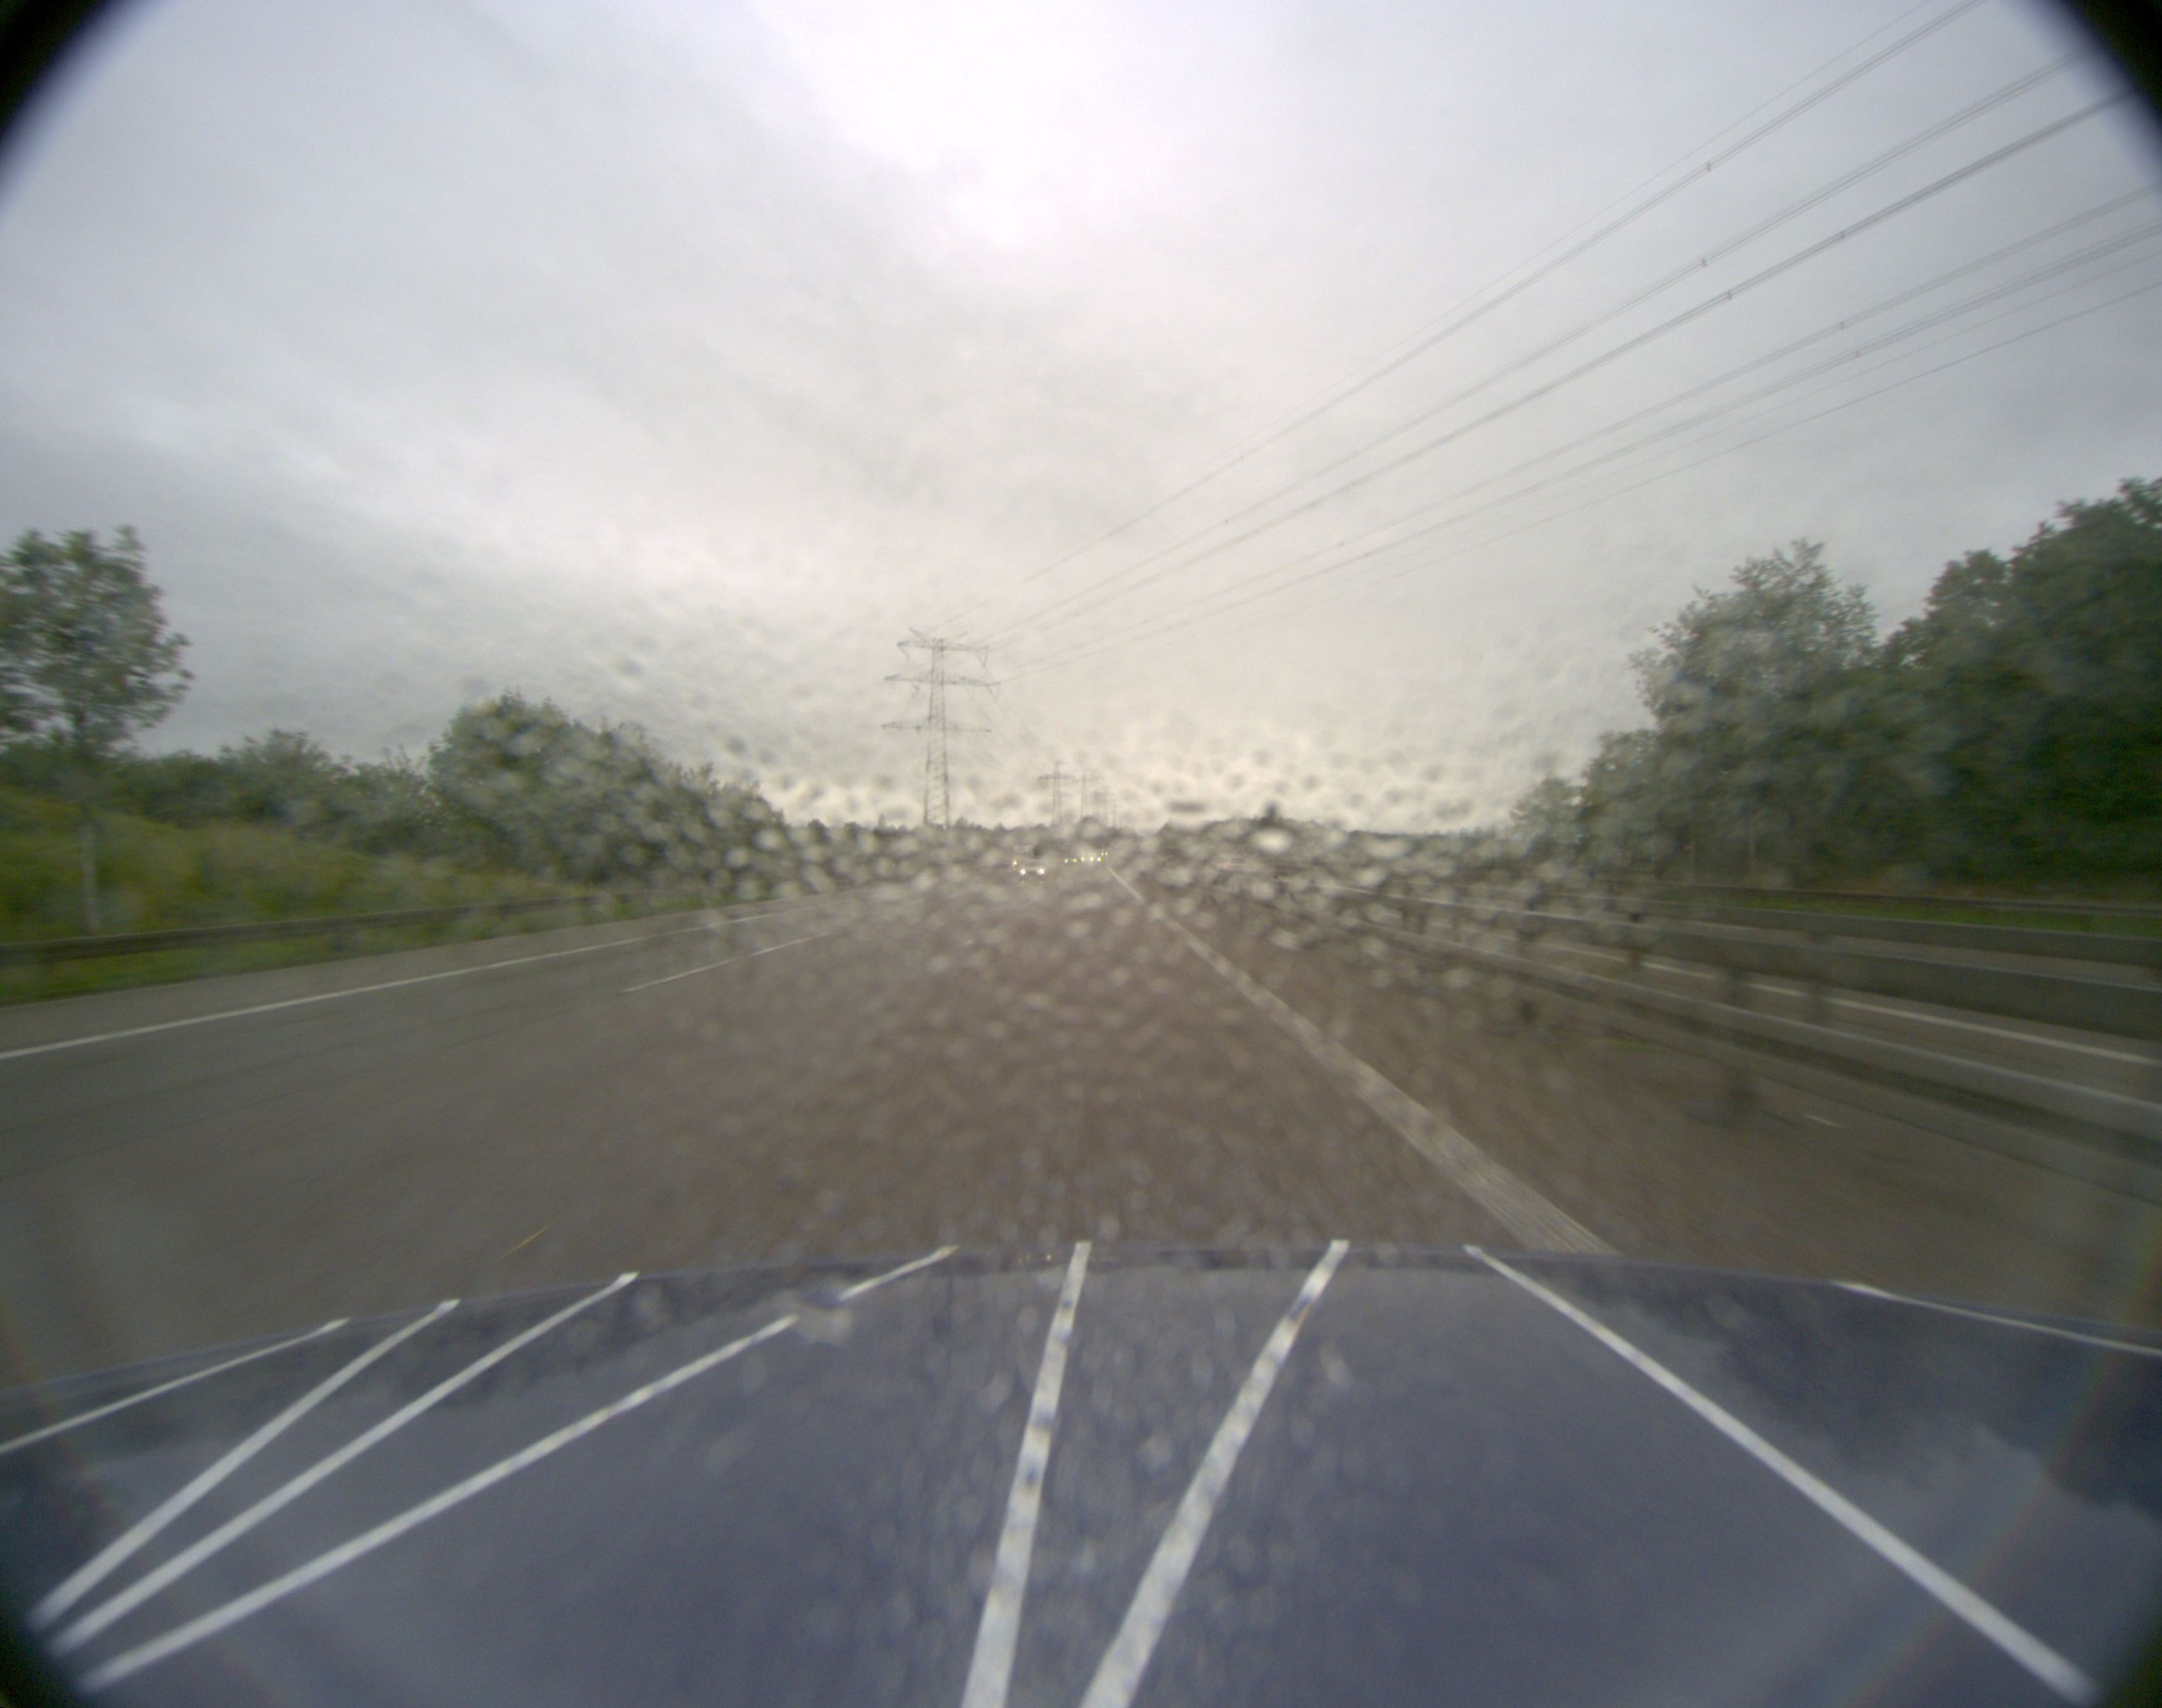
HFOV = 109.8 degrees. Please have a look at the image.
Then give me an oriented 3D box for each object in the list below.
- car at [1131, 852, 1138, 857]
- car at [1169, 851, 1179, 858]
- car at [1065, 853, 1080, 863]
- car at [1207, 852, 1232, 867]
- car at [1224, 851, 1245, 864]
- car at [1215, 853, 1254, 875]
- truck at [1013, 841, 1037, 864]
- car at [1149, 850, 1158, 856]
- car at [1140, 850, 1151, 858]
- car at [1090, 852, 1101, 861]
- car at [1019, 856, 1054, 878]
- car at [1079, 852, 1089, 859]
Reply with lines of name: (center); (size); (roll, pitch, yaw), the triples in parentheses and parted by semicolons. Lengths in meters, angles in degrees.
car: (15.205, 0.195, 216.241); (1.660, 1.428, 4.089); (1, 0, 1)
car: (21.081, 0.042, 171.625); (1.833, 1.490, 3.815); (0, 0, 1)
car: (-1.350, 0.630, 120.458); (1.998, 1.418, 4.000); (-2, 1, 3)
car: (14.872, 0.565, 81.727); (1.909, 1.655, 4.714); (0, 0, 1)
car: (21.500, 0.441, 106.683); (1.954, 1.808, 4.916); (0, 0, 0)
car: (10.597, 0.652, 52.819); (1.761, 1.453, 4.762); (1, 0, 1)
truck: (-8.634, -0.276, 117.791); (2.649, 3.325, 6.931); (-2, 1, 3)
car: (17.521, -0.195, 183.643); (1.833, 1.490, 3.815); (0, 0, 1)
car: (12.994, 0.058, 152.796); (1.833, 1.584, 3.815); (0, 0, 1)
car: (2.794, 0.449, 143.059); (1.998, 1.418, 4.000); (-2, 1, 3)
car: (-3.069, 0.878, 53.088); (1.998, 1.418, 4.000); (-2, 1, 3)
car: (0.670, 0.252, 163.157); (1.856, 1.418, 4.000); (-2, 1, 3)
